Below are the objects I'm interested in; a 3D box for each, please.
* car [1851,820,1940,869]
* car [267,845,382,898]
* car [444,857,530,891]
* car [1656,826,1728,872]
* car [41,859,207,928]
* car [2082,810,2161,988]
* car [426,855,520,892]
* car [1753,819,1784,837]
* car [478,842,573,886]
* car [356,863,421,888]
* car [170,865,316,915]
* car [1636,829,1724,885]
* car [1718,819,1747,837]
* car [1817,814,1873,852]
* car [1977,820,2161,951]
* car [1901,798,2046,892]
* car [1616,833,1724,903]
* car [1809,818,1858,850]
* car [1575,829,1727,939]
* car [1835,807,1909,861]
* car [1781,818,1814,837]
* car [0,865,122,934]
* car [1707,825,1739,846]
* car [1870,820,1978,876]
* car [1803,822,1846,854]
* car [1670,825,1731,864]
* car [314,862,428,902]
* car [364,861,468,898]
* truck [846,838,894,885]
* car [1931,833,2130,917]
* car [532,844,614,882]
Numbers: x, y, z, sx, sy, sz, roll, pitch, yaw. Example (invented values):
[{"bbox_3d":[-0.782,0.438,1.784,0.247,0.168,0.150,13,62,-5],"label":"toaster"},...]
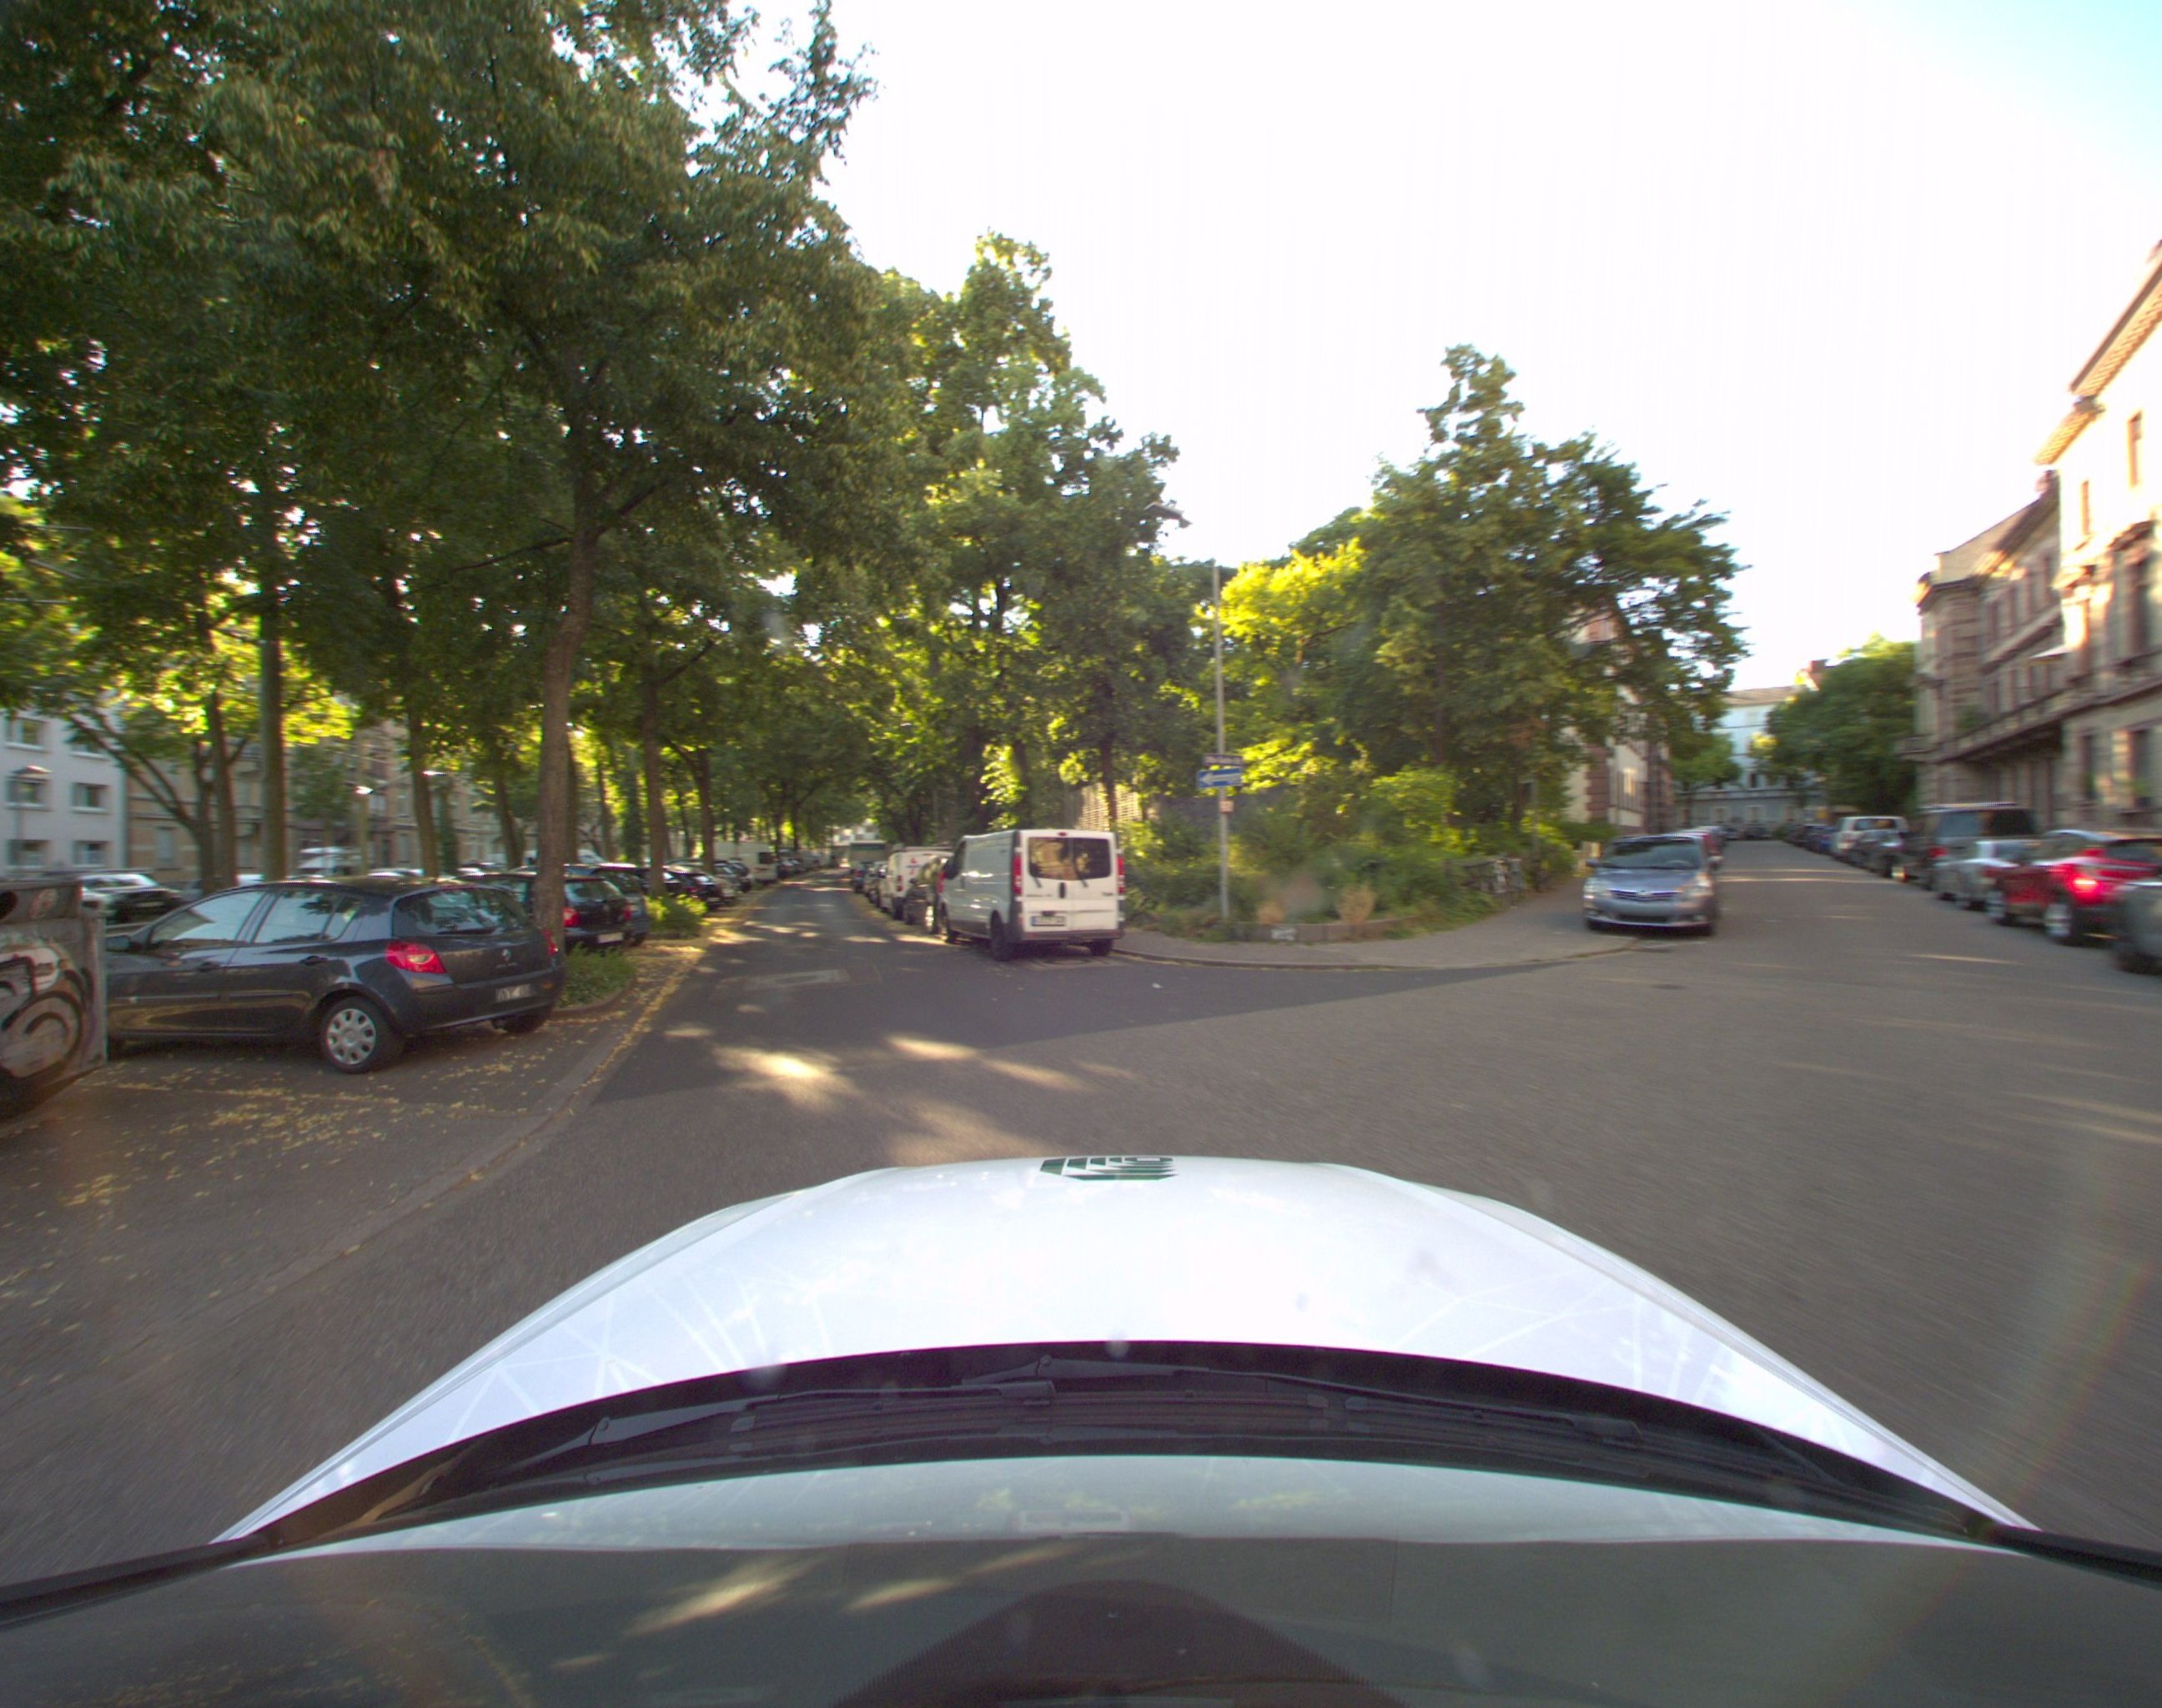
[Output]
[{"bbox_3d":[28.897,-0.391,29.004,1.781,1.622,3.980,2,3,39],"label":"car"},{"bbox_3d":[-44.954,0.948,48.622,2.556,2.887,5.455,-3,1,-14],"label":"car"},{"bbox_3d":[-37.373,1.232,51.281,4.199,1.698,1.864,-5,1,11],"label":"car"},{"bbox_3d":[21.934,-0.232,29.169,1.809,1.500,3.956,3,3,40],"label":"car"},{"bbox_3d":[-30.091,1.228,25.626,4.192,1.748,1.867,-5,1,19],"label":"car"},{"bbox_3d":[11.243,0.467,7.382,1.809,1.723,4.572,3,3,40],"label":"car"},{"bbox_3d":[-34.876,1.101,46.731,4.199,1.698,1.864,-5,1,11],"label":"car"},{"bbox_3d":[69.873,-2.638,82.824,1.974,1.684,4.025,0,0,34],"label":"car"},{"bbox_3d":[-38.898,0.705,57.086,5.217,2.571,2.281,-5,1,11],"label":"car"},{"bbox_3d":[-47.149,1.426,55.567,1.713,1.445,3.981,-3,1,-14],"label":"car"},{"bbox_3d":[-32.538,1.375,31.664,4.199,1.473,1.864,-5,1,11],"label":"car"},{"bbox_3d":[17.784,0.021,24.101,1.809,1.477,3.956,3,3,40],"label":"car"},{"bbox_3d":[67.272,-2.665,84.097,1.974,1.684,4.025,0,0,34],"label":"car"},{"bbox_3d":[39.692,-1.121,42.379,1.781,1.838,3.980,2,3,39],"label":"car"},{"bbox_3d":[14.606,0.344,11.562,1.780,1.613,3.980,2,3,37],"label":"car"},{"bbox_3d":[21.760,-0.279,20.024,1.781,2.072,3.980,2,3,39],"label":"car"},{"bbox_3d":[14.309,0.252,19.705,1.809,1.446,3.956,3,3,40],"label":"car"},{"bbox_3d":[42.964,-1.184,46.551,1.781,1.727,3.980,2,3,39],"label":"car"},{"bbox_3d":[10.234,0.390,14.481,1.809,1.614,4.318,3,3,40],"label":"car"},{"bbox_3d":[32.300,-0.840,33.348,1.781,2.072,3.980,2,3,39],"label":"car"},{"bbox_3d":[71.766,-2.618,81.664,1.974,1.684,4.025,0,0,34],"label":"car"},{"bbox_3d":[-29.537,1.349,22.876,4.192,1.651,1.867,-5,1,19],"label":"car"},{"bbox_3d":[49.144,-1.460,62.309,1.809,1.500,3.956,3,3,40],"label":"car"},{"bbox_3d":[25.528,-0.240,24.791,1.781,1.523,3.980,2,3,39],"label":"car"},{"bbox_3d":[48.979,-1.087,53.708,1.781,2.016,3.980,2,3,39],"label":"car"},{"bbox_3d":[25.928,-0.427,34.040,1.809,1.500,3.956,3,3,40],"label":"car"},{"bbox_3d":[-34.527,1.349,39.642,4.199,1.473,1.864,-5,1,11],"label":"car"},{"bbox_3d":[-34.776,1.305,42.636,4.199,1.473,1.864,-5,1,11],"label":"car"},{"bbox_3d":[-11.605,0.376,44.595,2.371,2.352,4.360,-2,0,-16],"label":"truck"},{"bbox_3d":[18.015,0.294,15.675,1.781,1.345,3.980,2,3,39],"label":"car"},{"bbox_3d":[-40.898,0.696,65.631,5.217,2.571,2.281,-5,1,11],"label":"car"}]
